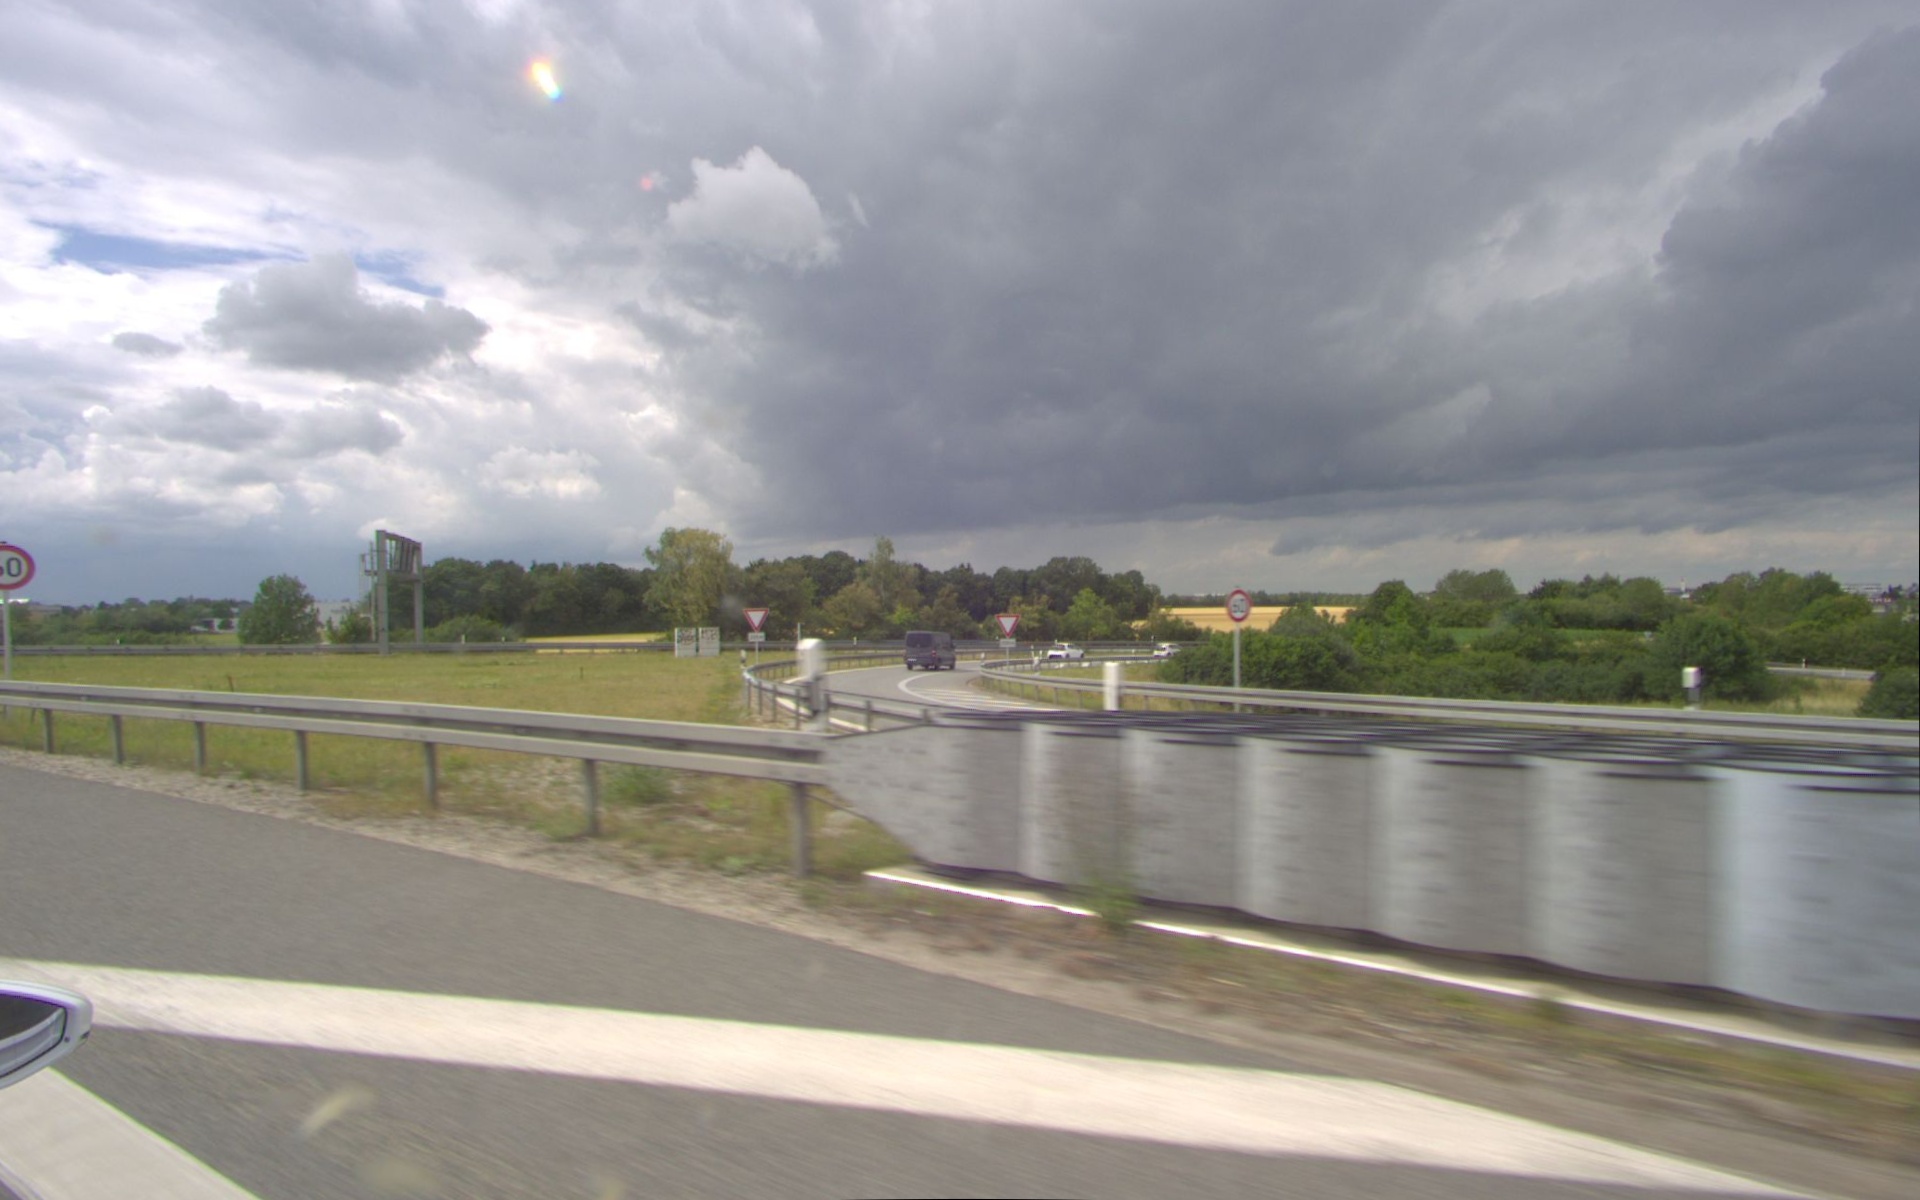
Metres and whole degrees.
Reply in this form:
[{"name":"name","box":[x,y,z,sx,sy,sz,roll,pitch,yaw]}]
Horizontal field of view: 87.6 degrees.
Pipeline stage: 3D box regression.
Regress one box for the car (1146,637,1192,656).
[{"name":"car","box":[20.072,4.499,96.026,3.938,1.731,1.992,1,-1,-25]}]

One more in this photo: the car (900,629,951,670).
[{"name":"car","box":[-2.028,2.939,60.709,1.877,2.291,4.645,1,-1,14]}]

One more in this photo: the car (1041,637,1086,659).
[{"name":"car","box":[8.779,4.019,84.902,1.975,1.731,3.971,1,-1,39]}]
